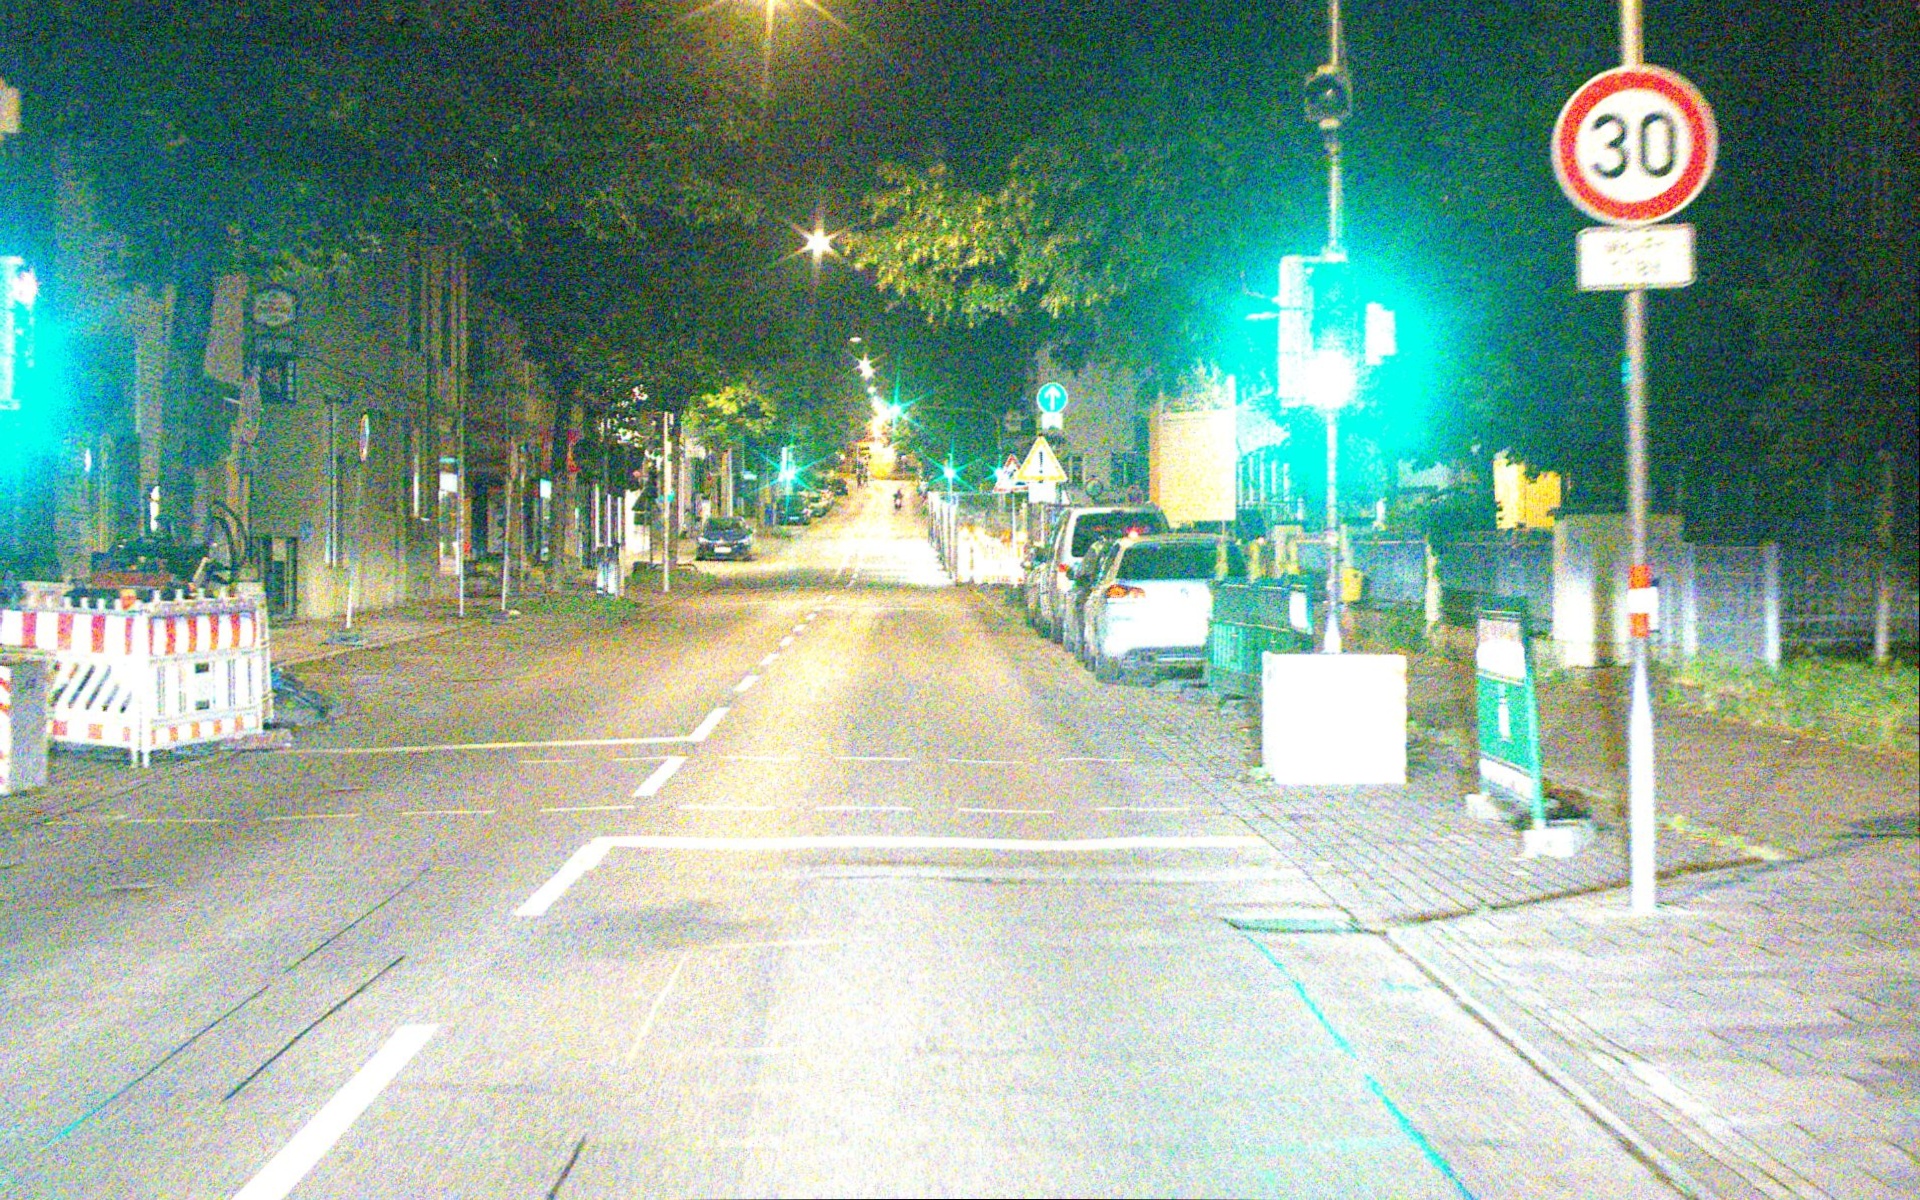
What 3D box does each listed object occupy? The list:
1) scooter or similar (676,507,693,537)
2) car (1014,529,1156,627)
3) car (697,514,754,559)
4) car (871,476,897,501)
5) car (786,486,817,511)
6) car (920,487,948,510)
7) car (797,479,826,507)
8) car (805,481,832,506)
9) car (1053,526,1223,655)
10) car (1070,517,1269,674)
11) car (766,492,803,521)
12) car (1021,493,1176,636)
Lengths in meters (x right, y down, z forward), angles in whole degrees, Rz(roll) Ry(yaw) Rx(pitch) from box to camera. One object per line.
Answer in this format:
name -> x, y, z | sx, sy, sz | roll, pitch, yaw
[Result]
scooter or similar -> -11.185, -3.156, 139.686 | 0.528, 1.161, 2.507 | -1, 0, -1
car -> 1.841, -0.366, 51.848 | 1.727, 1.414, 4.324 | 0, 1, -3
car -> -7.748, -2.117, 113.879 | 1.671, 1.438, 4.205 | 0, 2, -1
car -> -5.596, -8.254, 253.578 | 1.873, 1.808, 4.205 | 0, 2, 0
car -> -10.275, -6.581, 222.787 | 1.873, 1.539, 4.205 | 0, 2, -1
car -> -1.795, -6.963, 236.316 | 1.873, 1.539, 4.205 | 0, 2, -1
car -> -9.898, -7.142, 229.187 | 1.873, 1.808, 4.205 | 0, 2, -1
car -> -10.165, -7.664, 247.485 | 1.873, 1.808, 4.205 | 0, 2, -1
car -> 2.053, -0.155, 40.768 | 1.686, 1.416, 4.444 | -1, 1, -1
car -> 2.120, -0.088, 35.742 | 1.739, 1.472, 4.000 | -2, 1, -1
car -> -9.487, -5.061, 185.905 | 1.873, 1.539, 4.205 | 0, 2, -1
car -> 1.840, -0.513, 46.976 | 1.735, 1.848, 4.317 | -1, 1, -3
